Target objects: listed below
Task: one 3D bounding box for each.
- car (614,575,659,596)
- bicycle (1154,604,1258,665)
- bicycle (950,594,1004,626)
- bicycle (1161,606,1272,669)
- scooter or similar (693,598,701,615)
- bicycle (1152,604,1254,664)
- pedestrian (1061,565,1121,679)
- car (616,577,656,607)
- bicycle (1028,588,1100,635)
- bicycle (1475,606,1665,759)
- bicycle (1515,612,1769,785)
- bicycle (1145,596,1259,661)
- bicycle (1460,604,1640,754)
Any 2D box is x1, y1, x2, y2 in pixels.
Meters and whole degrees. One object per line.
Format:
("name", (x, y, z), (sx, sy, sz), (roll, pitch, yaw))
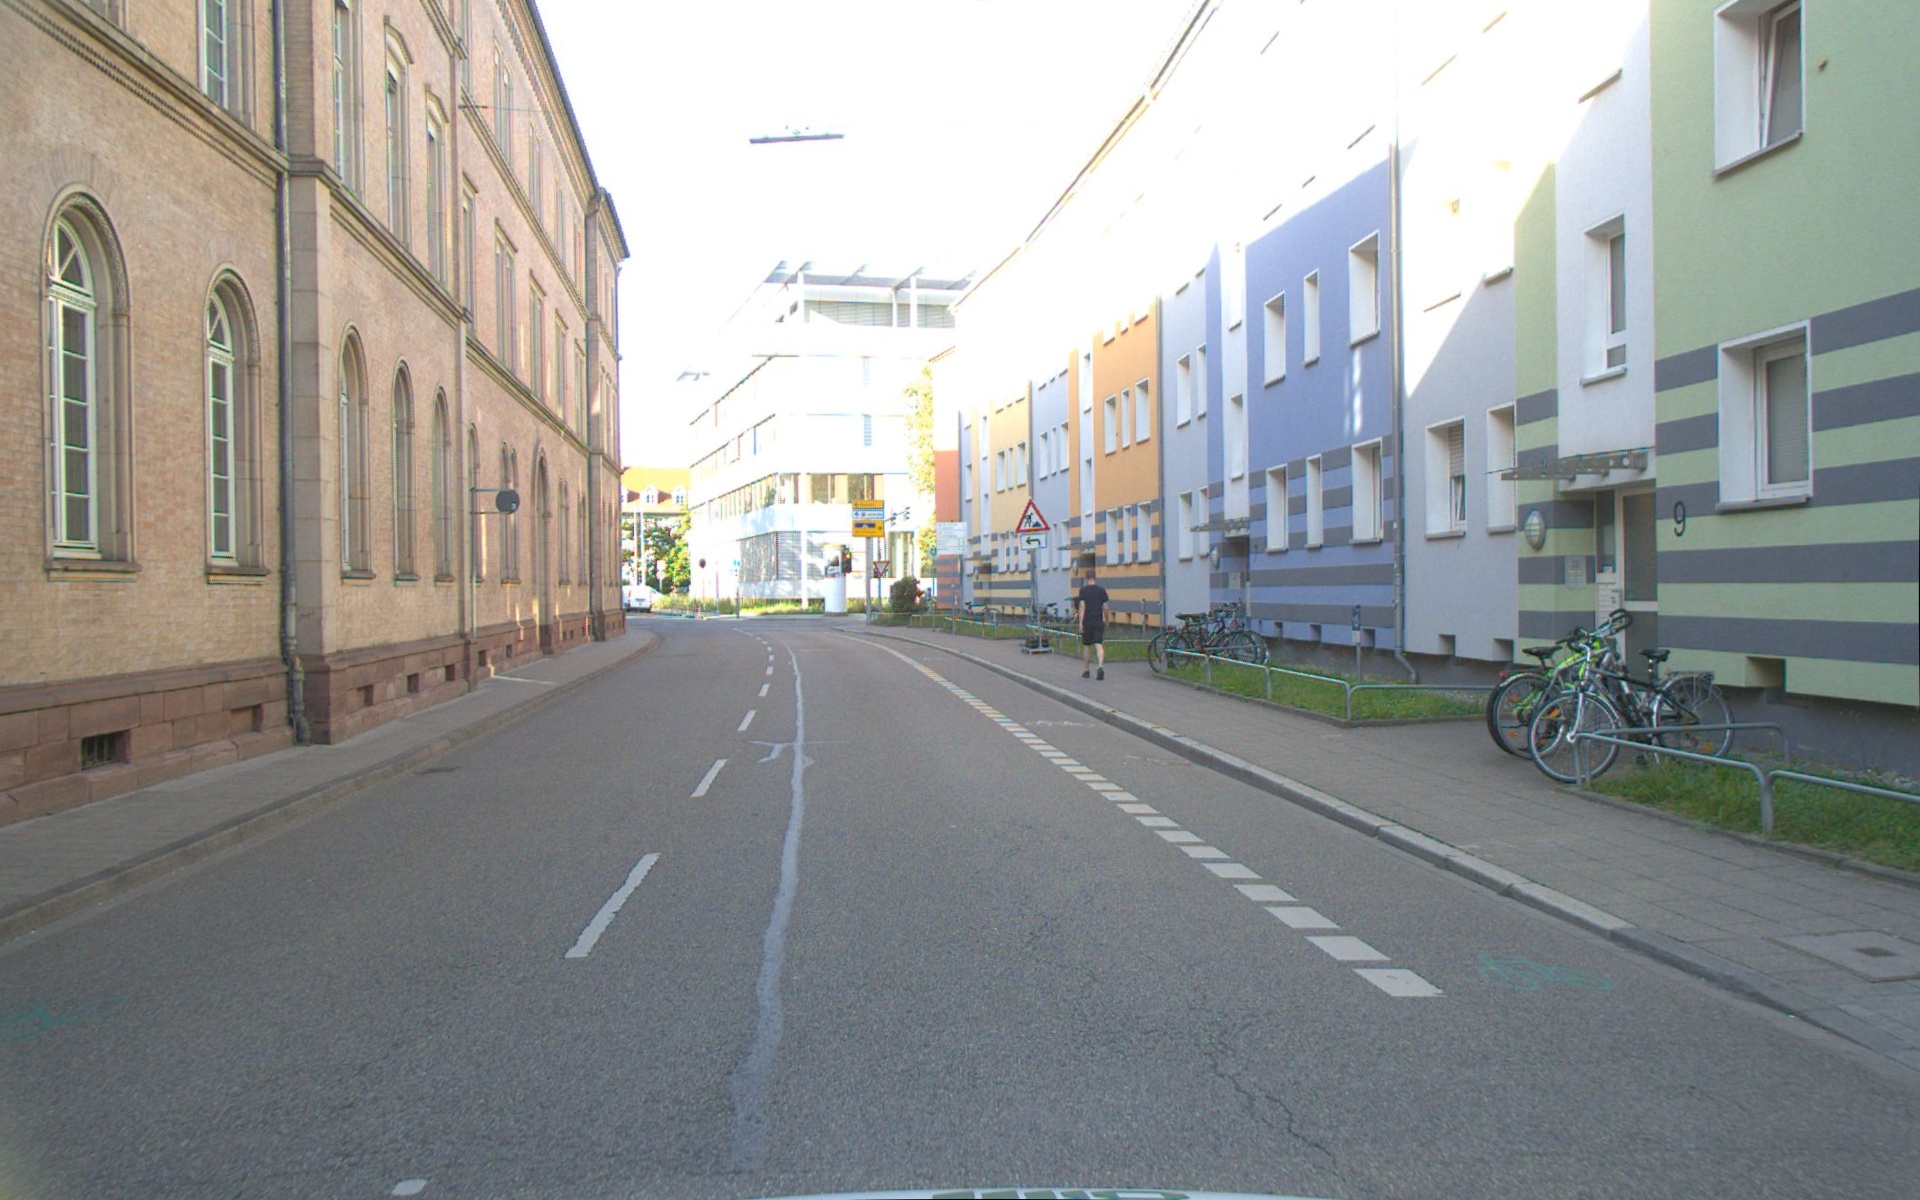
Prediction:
("car", (-31.425, -1.363, 160.791), (3.943, 1.949, 1.902), (1, 0, -29))
("bicycle", (4.239, 0.589, 28.502), (1.714, 0.963, 0.325), (-2, 0, -5))
("bicycle", (0.587, 0.329, 57.368), (1.722, 1.021, 0.612), (-3, 0, -11))
("bicycle", (4.237, 0.615, 27.344), (1.715, 0.963, 0.551), (-2, 0, -6))
("scooter or similar", (-16.770, 0.419, 105.367), (0.320, 1.078, 1.137), (-1, 1, -17))
("bicycle", (4.248, 0.592, 28.923), (1.715, 0.963, 0.335), (-2, 0, -6))
("pedestrian", (2.142, 0.339, 27.154), (0.683, 1.790, 1.187), (-3, 1, -5))
("car", (-24.262, -0.567, 123.710), (2.386, 2.149, 5.205), (1, 0, -18))
("bicycle", (2.716, 0.294, 43.148), (1.776, 1.157, 0.551), (-1, 0, -8))
("bicycle", (5.269, 0.699, 14.274), (1.613, 1.161, 0.282), (-5, 1, -14))
("bicycle", (5.274, 0.745, 12.829), (1.715, 1.161, 0.551), (-4, 1, -6))
("bicycle", (3.901, 0.457, 26.676), (1.715, 0.963, 0.551), (-2, 0, -6))
("bicycle", (5.190, 0.683, 14.532), (1.575, 1.161, 0.236), (-5, 1, -14))
